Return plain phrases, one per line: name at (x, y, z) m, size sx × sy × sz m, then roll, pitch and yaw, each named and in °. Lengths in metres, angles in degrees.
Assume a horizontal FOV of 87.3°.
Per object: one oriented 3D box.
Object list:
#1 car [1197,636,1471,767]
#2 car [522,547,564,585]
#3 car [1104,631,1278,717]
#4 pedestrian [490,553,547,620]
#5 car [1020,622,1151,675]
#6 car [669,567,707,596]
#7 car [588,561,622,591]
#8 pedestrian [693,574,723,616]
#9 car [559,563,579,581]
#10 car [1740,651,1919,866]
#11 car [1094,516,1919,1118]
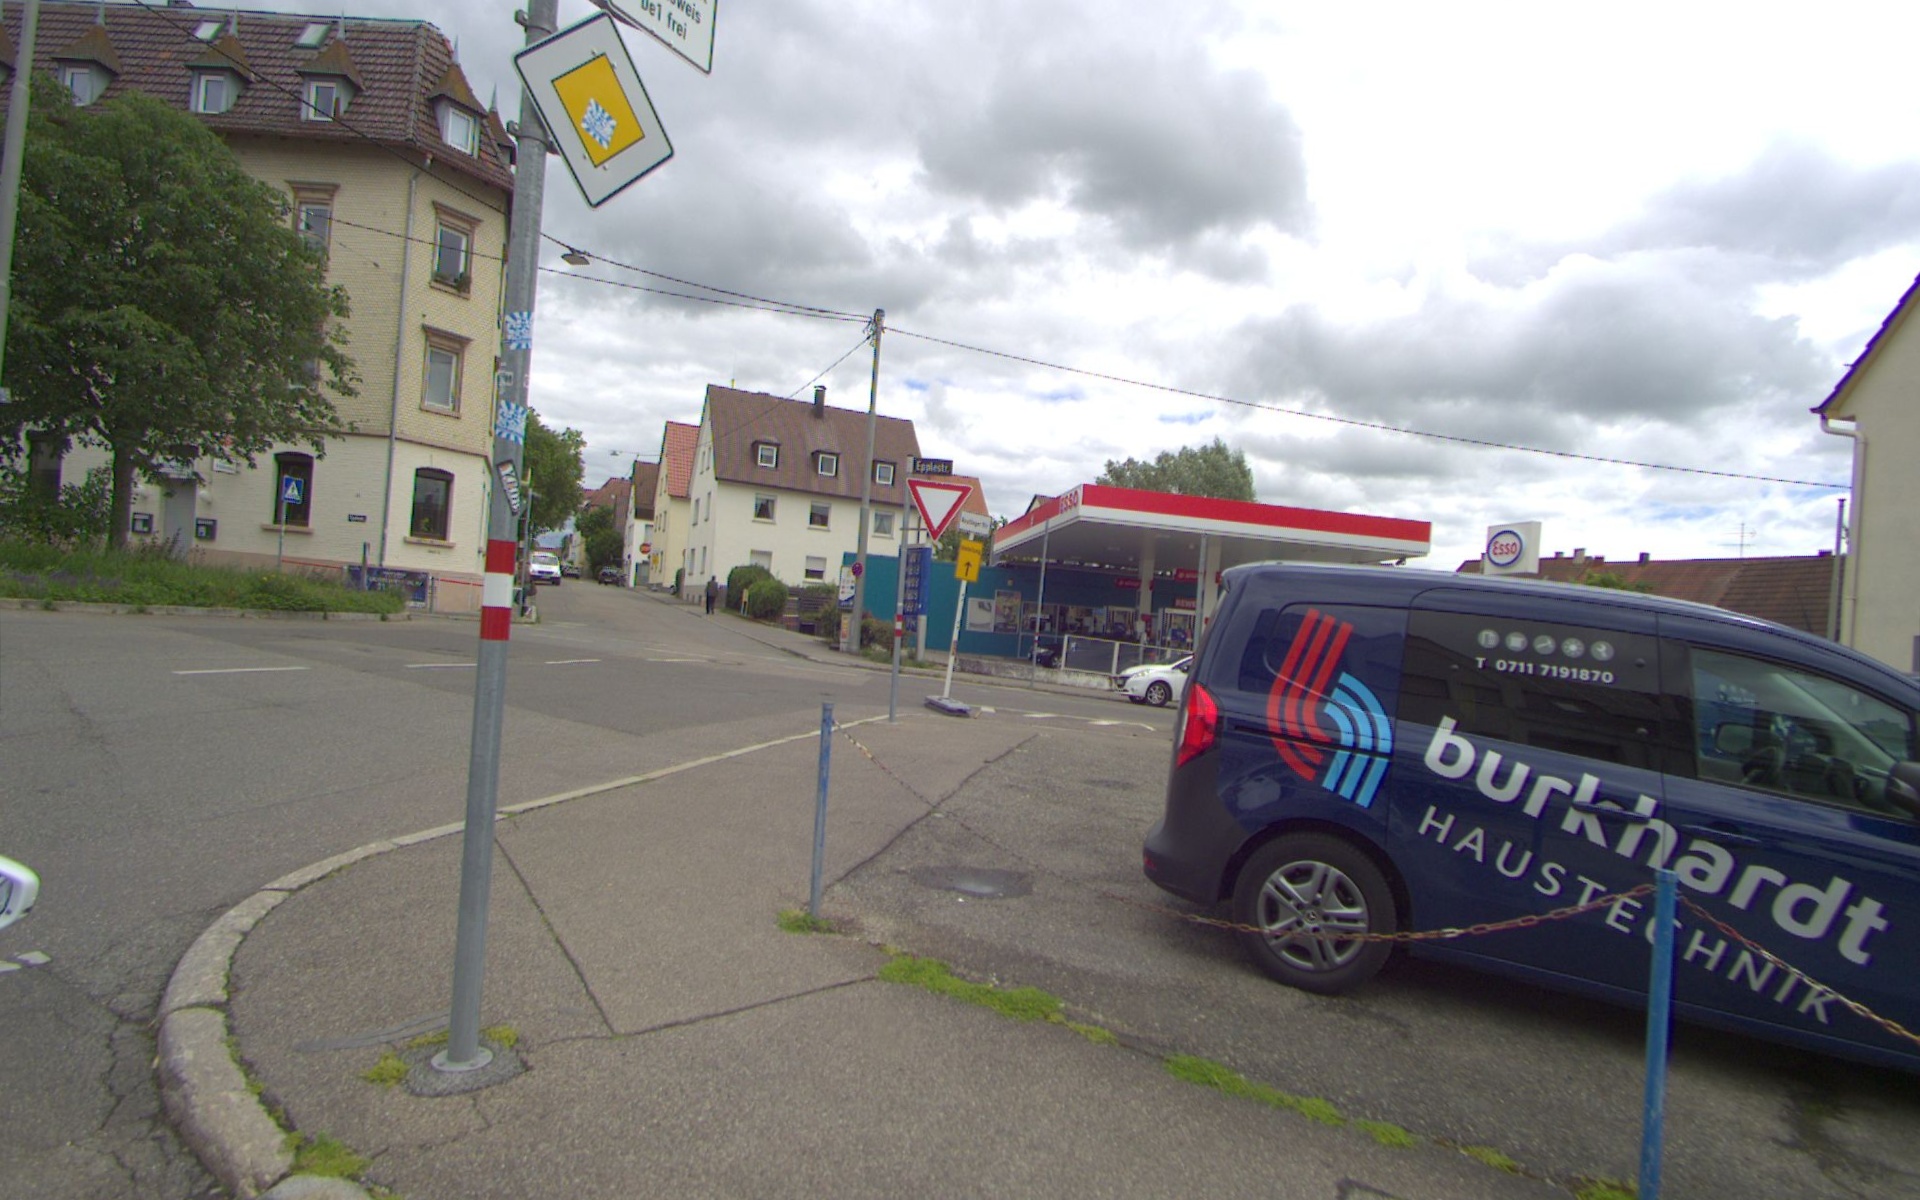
car at (6.399, 1.710, 17.414) m, size 3.932 × 1.636 × 1.774 m, roll 8°, pitch -2°, yaw -8°
car at (-26.304, -2.129, 63.385) m, size 1.976 × 2.036 × 3.977 m, roll 9°, pitch -2°, yaw -25°
car at (5.780, 1.846, 25.433) m, size 3.765 × 1.498 × 1.772 m, roll 8°, pitch 1°, yaw -7°
pedestrian at (-12.755, -0.384, 29.078) m, size 0.846 × 1.752 × 1.021 m, roll 7°, pitch -2°, yaw 30°
car at (4.643, 1.800, 37.456) m, size 4.405 × 1.480 × 1.922 m, roll 6°, pitch -1°, yaw -7°
car at (-18.117, -1.200, 66.953) m, size 1.800 × 1.618 × 3.869 m, roll 8°, pitch -2°, yaw -22°
car at (-28.604, -1.914, 80.942) m, size 1.976 × 2.036 × 3.977 m, roll 9°, pitch -2°, yaw -25°
pedestrian at (-11.470, -0.213, 45.829) m, size 0.905 × 1.759 × 0.739 m, roll 9°, pitch -2°, yaw -34°
car at (-51.260, -3.656, 131.785) m, size 1.976 × 2.036 × 3.977 m, roll 9°, pitch -2°, yaw -25°
car at (9.861, 1.625, 9.276) m, size 3.931 × 1.747 × 1.868 m, roll 8°, pitch -2°, yaw -7°
car at (3.070, 0.798, 4.328) m, size 4.488 × 1.762 × 1.750 m, roll 7°, pitch 2°, yaw 23°
